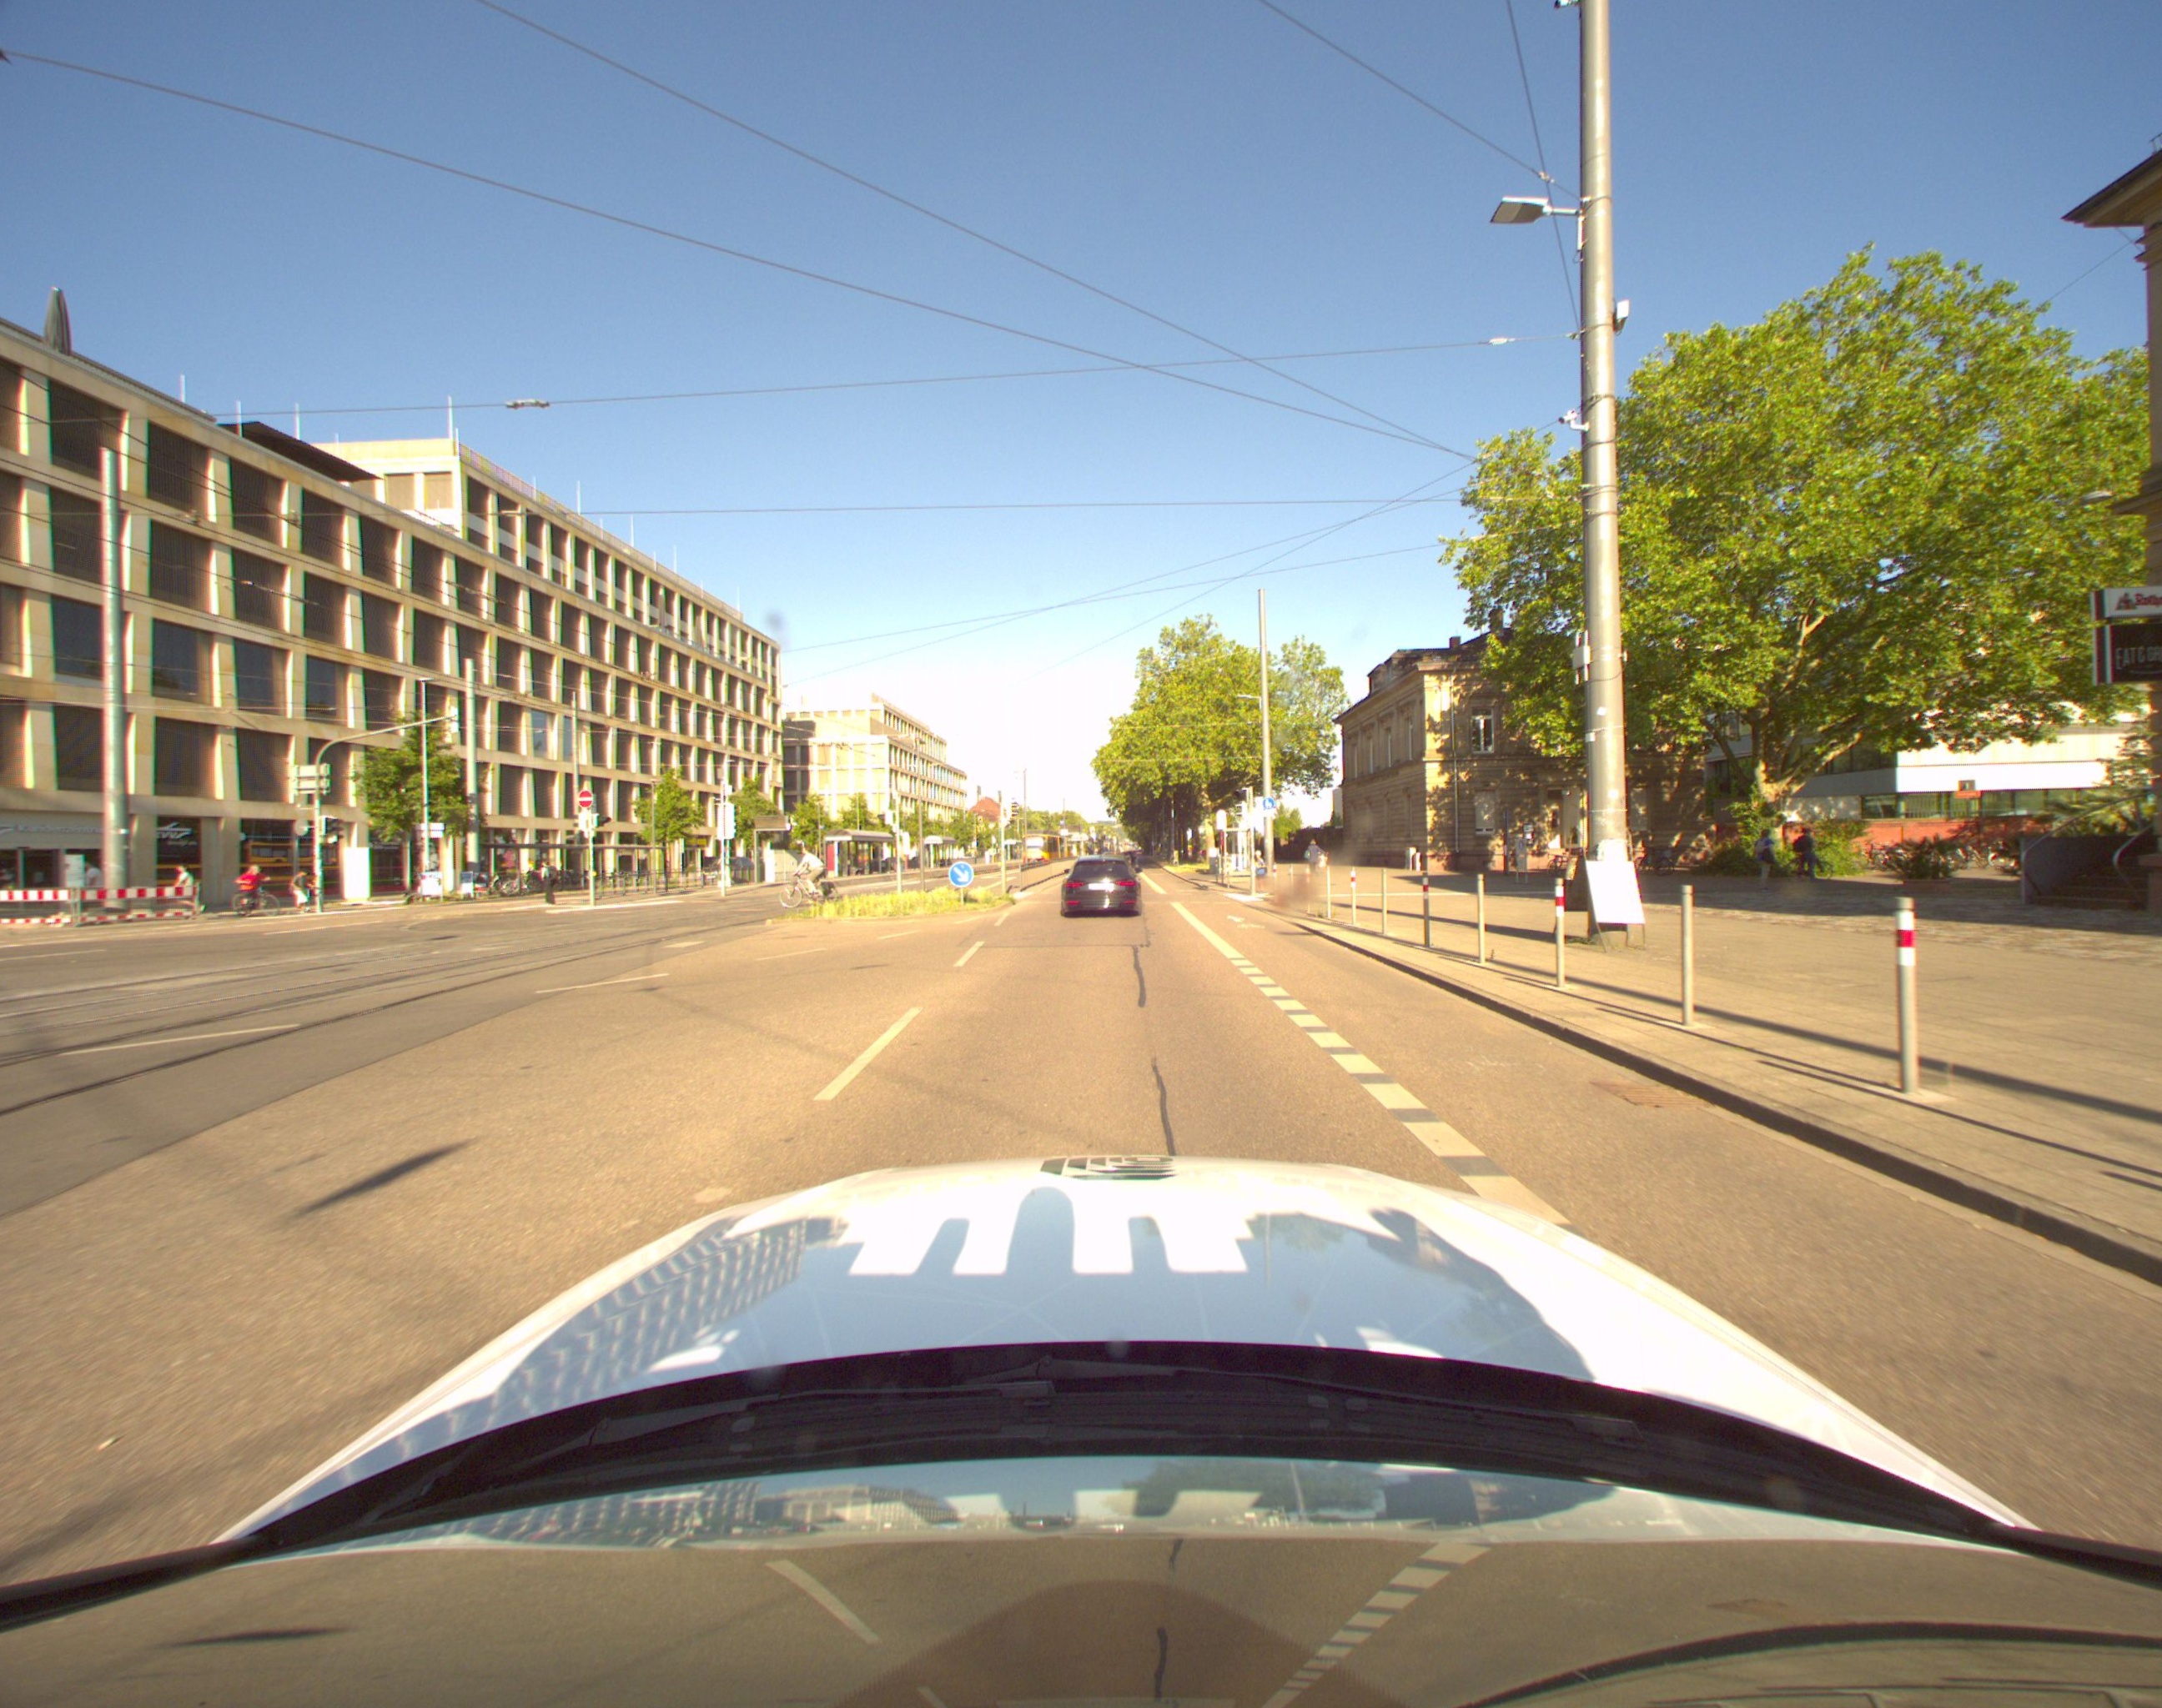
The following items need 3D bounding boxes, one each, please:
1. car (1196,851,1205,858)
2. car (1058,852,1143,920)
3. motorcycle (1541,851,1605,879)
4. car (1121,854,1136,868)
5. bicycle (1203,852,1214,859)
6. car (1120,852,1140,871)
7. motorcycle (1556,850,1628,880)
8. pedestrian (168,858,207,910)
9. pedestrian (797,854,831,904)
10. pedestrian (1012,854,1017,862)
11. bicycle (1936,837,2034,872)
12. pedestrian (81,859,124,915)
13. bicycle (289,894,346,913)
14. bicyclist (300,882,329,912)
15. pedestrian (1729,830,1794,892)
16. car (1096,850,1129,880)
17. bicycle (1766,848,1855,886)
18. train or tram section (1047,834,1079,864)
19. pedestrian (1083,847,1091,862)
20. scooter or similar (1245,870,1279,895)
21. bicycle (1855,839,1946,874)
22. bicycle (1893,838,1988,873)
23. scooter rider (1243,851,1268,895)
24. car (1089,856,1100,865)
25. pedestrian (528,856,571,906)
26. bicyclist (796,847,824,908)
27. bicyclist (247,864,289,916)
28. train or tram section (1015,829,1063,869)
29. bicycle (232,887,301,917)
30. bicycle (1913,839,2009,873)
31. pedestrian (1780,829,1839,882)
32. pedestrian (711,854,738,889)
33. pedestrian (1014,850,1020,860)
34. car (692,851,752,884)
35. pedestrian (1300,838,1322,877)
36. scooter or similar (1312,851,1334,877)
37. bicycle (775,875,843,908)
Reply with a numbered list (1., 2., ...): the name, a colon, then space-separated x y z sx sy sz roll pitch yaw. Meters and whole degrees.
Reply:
1. car: 27.058 0.180 184.229 1.607 1.515 3.807 -1 0 4
2. car: 0.490 0.709 19.753 1.871 1.457 3.358 -1 0 2
3. motorcycle: 19.956 0.450 33.071 2.064 1.103 0.889 -1 -1 10
4. car: 5.921 0.855 101.918 1.756 1.619 4.002 -1 0 2
5. bicycle: 22.182 0.244 141.362 1.766 1.120 0.440 -3 -1 3
6. car: 4.508 0.690 75.426 1.756 1.619 4.002 -1 0 2
7. motorcycle: 20.140 0.434 32.134 2.205 1.159 0.889 -1 -1 10
8. pedestrian: -29.431 0.977 26.835 0.613 1.682 0.583 -1 0 1
9. pedestrian: -8.965 0.826 27.369 0.930 1.644 0.794 -1 0 -10
10. pedestrian: -10.015 0.595 122.880 0.611 1.260 0.726 -1 0 8
11. bicycle: 34.712 0.042 31.337 0.777 1.278 2.668 0 -1 -1
12. pedestrian: -29.909 1.005 24.896 0.611 1.682 0.584 -1 0 9
13. bicycle: -25.367 1.650 27.060 1.710 0.609 0.513 -1 -1 12
14. bicyclist: -25.481 1.427 27.085 0.458 0.993 0.513 -1 0 13
15. pedestrian: 20.496 0.214 24.553 0.995 1.788 1.034 -3 0 -8
16. car: 1.811 0.589 47.012 1.756 1.619 4.002 -1 0 2
17. bicycle: 24.958 0.436 27.883 2.660 1.278 0.779 0 -1 -10
18. train or tram section: -2.334 -0.591 110.753 3.294 3.829 11.856 -1 0 4
19. pedestrian: 0.584 0.032 80.884 0.742 1.508 0.667 -2 0 6
20. scooter or similar: 5.912 0.928 26.611 1.016 0.811 0.265 -1 0 3
21. bicycle: 31.408 0.100 31.283 0.777 1.278 2.668 0 -1 -1
22. bicycle: 32.869 0.059 31.208 0.777 1.278 2.668 0 -1 -1
23. scooter rider: 5.671 0.610 26.522 0.698 1.397 0.600 -1 0 3
24. car: 2.304 1.128 140.745 1.756 1.619 4.002 -1 0 2
25. pedestrian: -17.966 0.900 27.556 0.930 1.644 0.794 -1 0 -10
26. bicyclist: -8.296 0.707 24.945 0.666 1.808 0.645 -1 0 -10
27. bicyclist: -25.853 1.148 25.913 0.624 1.618 0.686 -1 0 11
28. train or tram section: -4.236 -0.436 86.369 3.294 3.829 14.234 -1 0 4
29. bicycle: -25.903 1.523 25.907 1.872 0.878 0.610 -1 0 11
30. bicycle: 33.823 0.083 31.367 0.777 1.278 2.668 0 -1 -1
31. pedestrian: 24.762 0.047 27.703 0.995 1.744 1.034 -3 0 -8
32. pedestrian: -16.800 0.813 38.400 0.790 1.644 0.934 -1 0 5
33. pedestrian: -9.843 0.217 125.569 0.610 1.527 0.727 -1 0 12
34. car: -23.229 0.813 52.871 1.986 2.013 4.002 -1 0 2
35. pedestrian: 10.692 0.170 37.847 0.762 1.744 0.801 -3 0 28
36. scooter or similar: 11.294 0.449 37.976 0.717 1.156 0.759 -3 0 -3
37. bicycle: -8.315 1.139 24.938 1.883 0.911 0.512 -1 -1 -10
